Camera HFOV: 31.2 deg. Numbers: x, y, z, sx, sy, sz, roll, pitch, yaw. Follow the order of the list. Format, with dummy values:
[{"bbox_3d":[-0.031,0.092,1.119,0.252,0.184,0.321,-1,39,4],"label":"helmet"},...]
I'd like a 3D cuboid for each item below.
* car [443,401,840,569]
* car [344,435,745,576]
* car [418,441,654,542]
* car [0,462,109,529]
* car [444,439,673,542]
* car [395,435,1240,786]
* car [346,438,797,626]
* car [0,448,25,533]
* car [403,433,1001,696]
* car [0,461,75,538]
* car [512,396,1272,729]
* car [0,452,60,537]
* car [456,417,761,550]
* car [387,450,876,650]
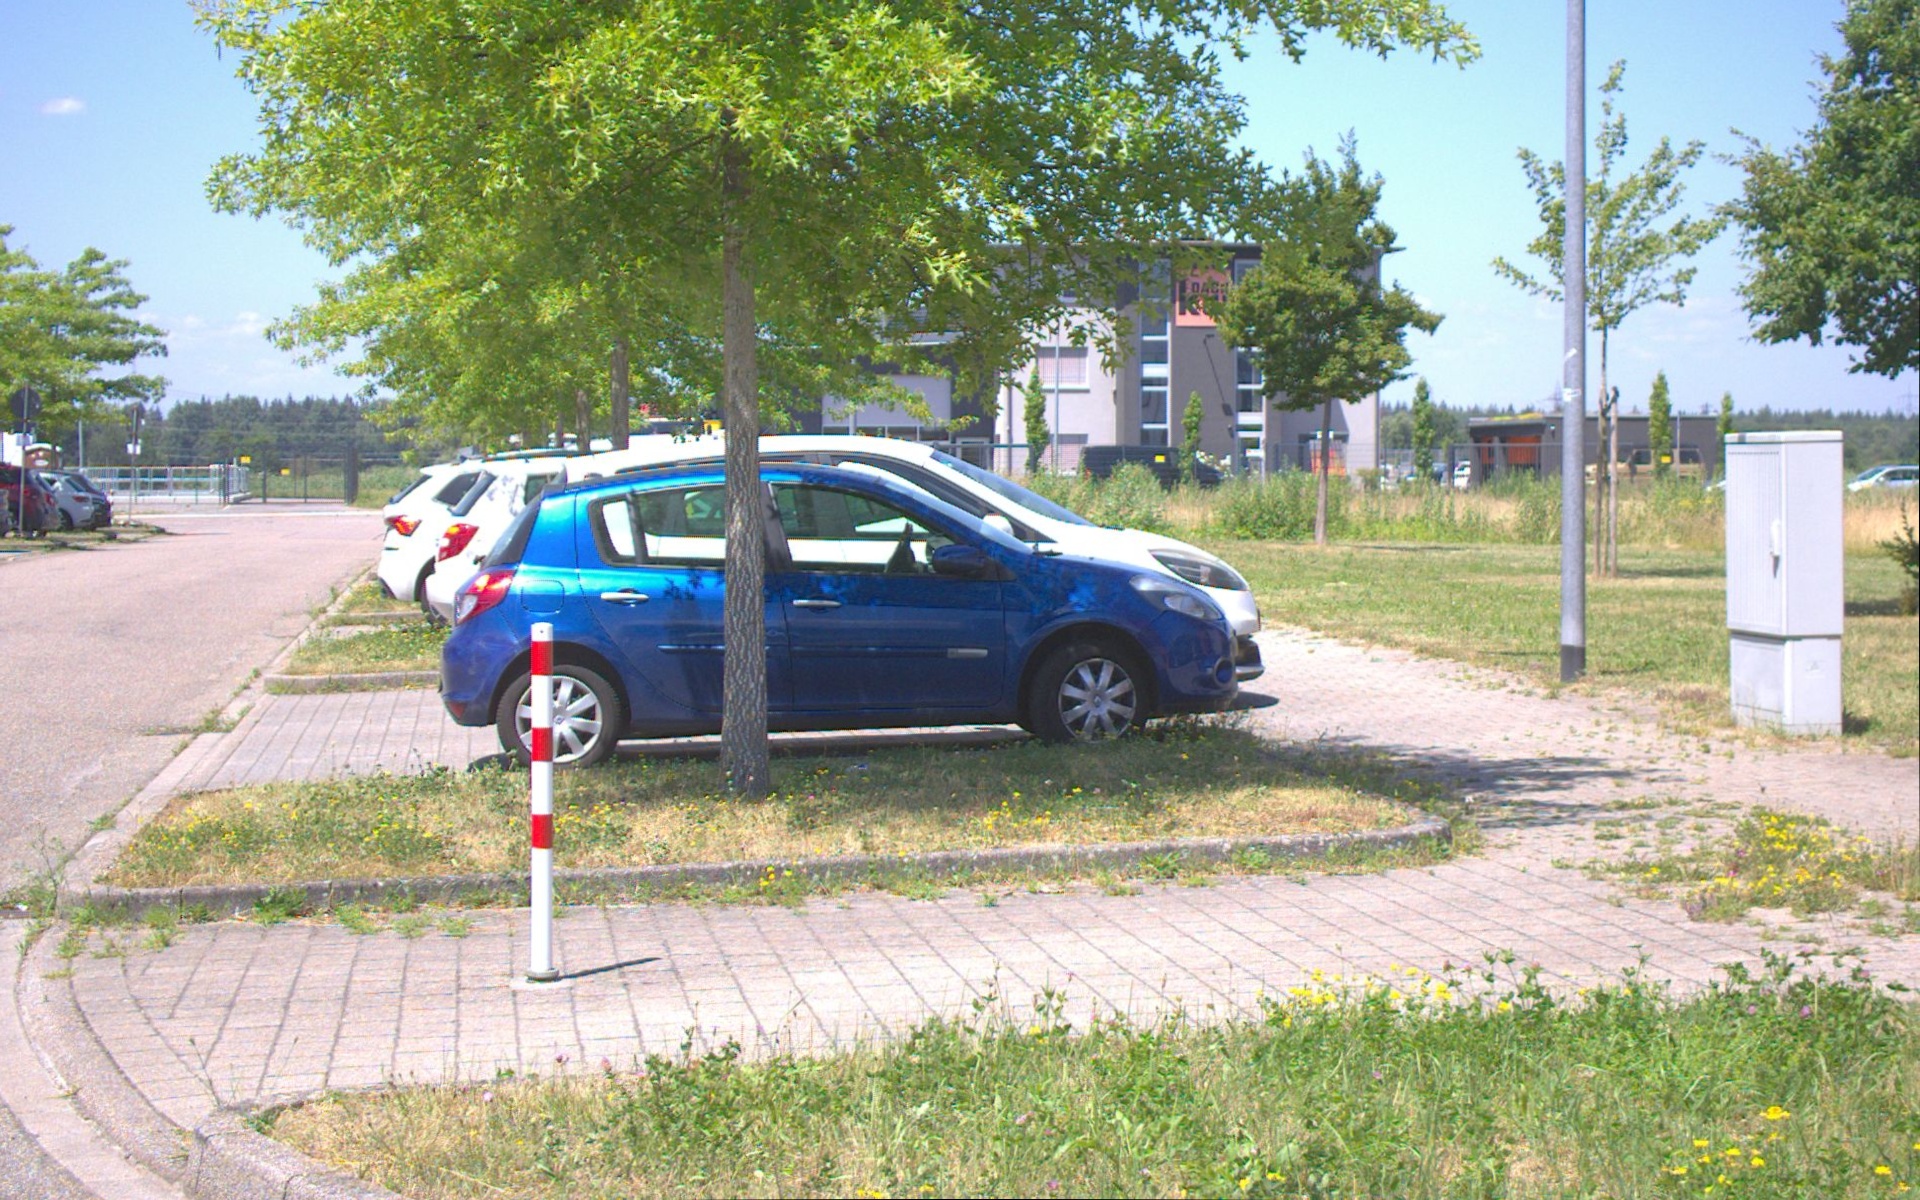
[{"bbox_3d":[-3.388,-1.231,36.406,4.046,1.619,1.694,-2,2,-7],"label":"car"},{"bbox_3d":[-5.144,-1.183,42.347,4.715,1.555,1.914,-2,3,-11],"label":"car"},{"bbox_3d":[-7.758,-1.990,62.765,4.172,1.690,1.783,-2,2,-9],"label":"car"},{"bbox_3d":[-21.091,-2.360,76.541,4.074,1.419,1.874,1,2,-12],"label":"car"},{"bbox_3d":[-7.025,-1.924,60.132,3.874,1.672,1.783,-2,2,-8],"label":"car"},{"bbox_3d":[-0.724,0.004,17.370,3.995,1.485,1.728,-3,3,-4],"label":"car"},{"bbox_3d":[-3.386,-0.628,30.554,3.834,1.547,1.780,-1,3,-2],"label":"car"},{"bbox_3d":[-18.856,-2.015,60.915,4.192,1.475,1.713,2,2,-8],"label":"car"},{"bbox_3d":[-1.705,-0.274,22.329,3.617,1.458,1.611,-3,3,-12],"label":"car"},{"bbox_3d":[-19.911,-2.082,69.796,3.655,1.503,1.732,1,2,-12],"label":"car"},{"bbox_3d":[-0.402,-0.257,19.776,4.109,1.644,1.774,-3,3,-3],"label":"car"},{"bbox_3d":[-19.632,-2.114,67.191,3.737,1.616,1.817,1,2,-7],"label":"car"},{"bbox_3d":[-5.271,-1.758,51.535,4.402,1.823,1.796,-2,2,-7],"label":"car"},{"bbox_3d":[-2.708,-0.439,28.114,3.833,1.519,1.780,-1,2,-8],"label":"car"}]
